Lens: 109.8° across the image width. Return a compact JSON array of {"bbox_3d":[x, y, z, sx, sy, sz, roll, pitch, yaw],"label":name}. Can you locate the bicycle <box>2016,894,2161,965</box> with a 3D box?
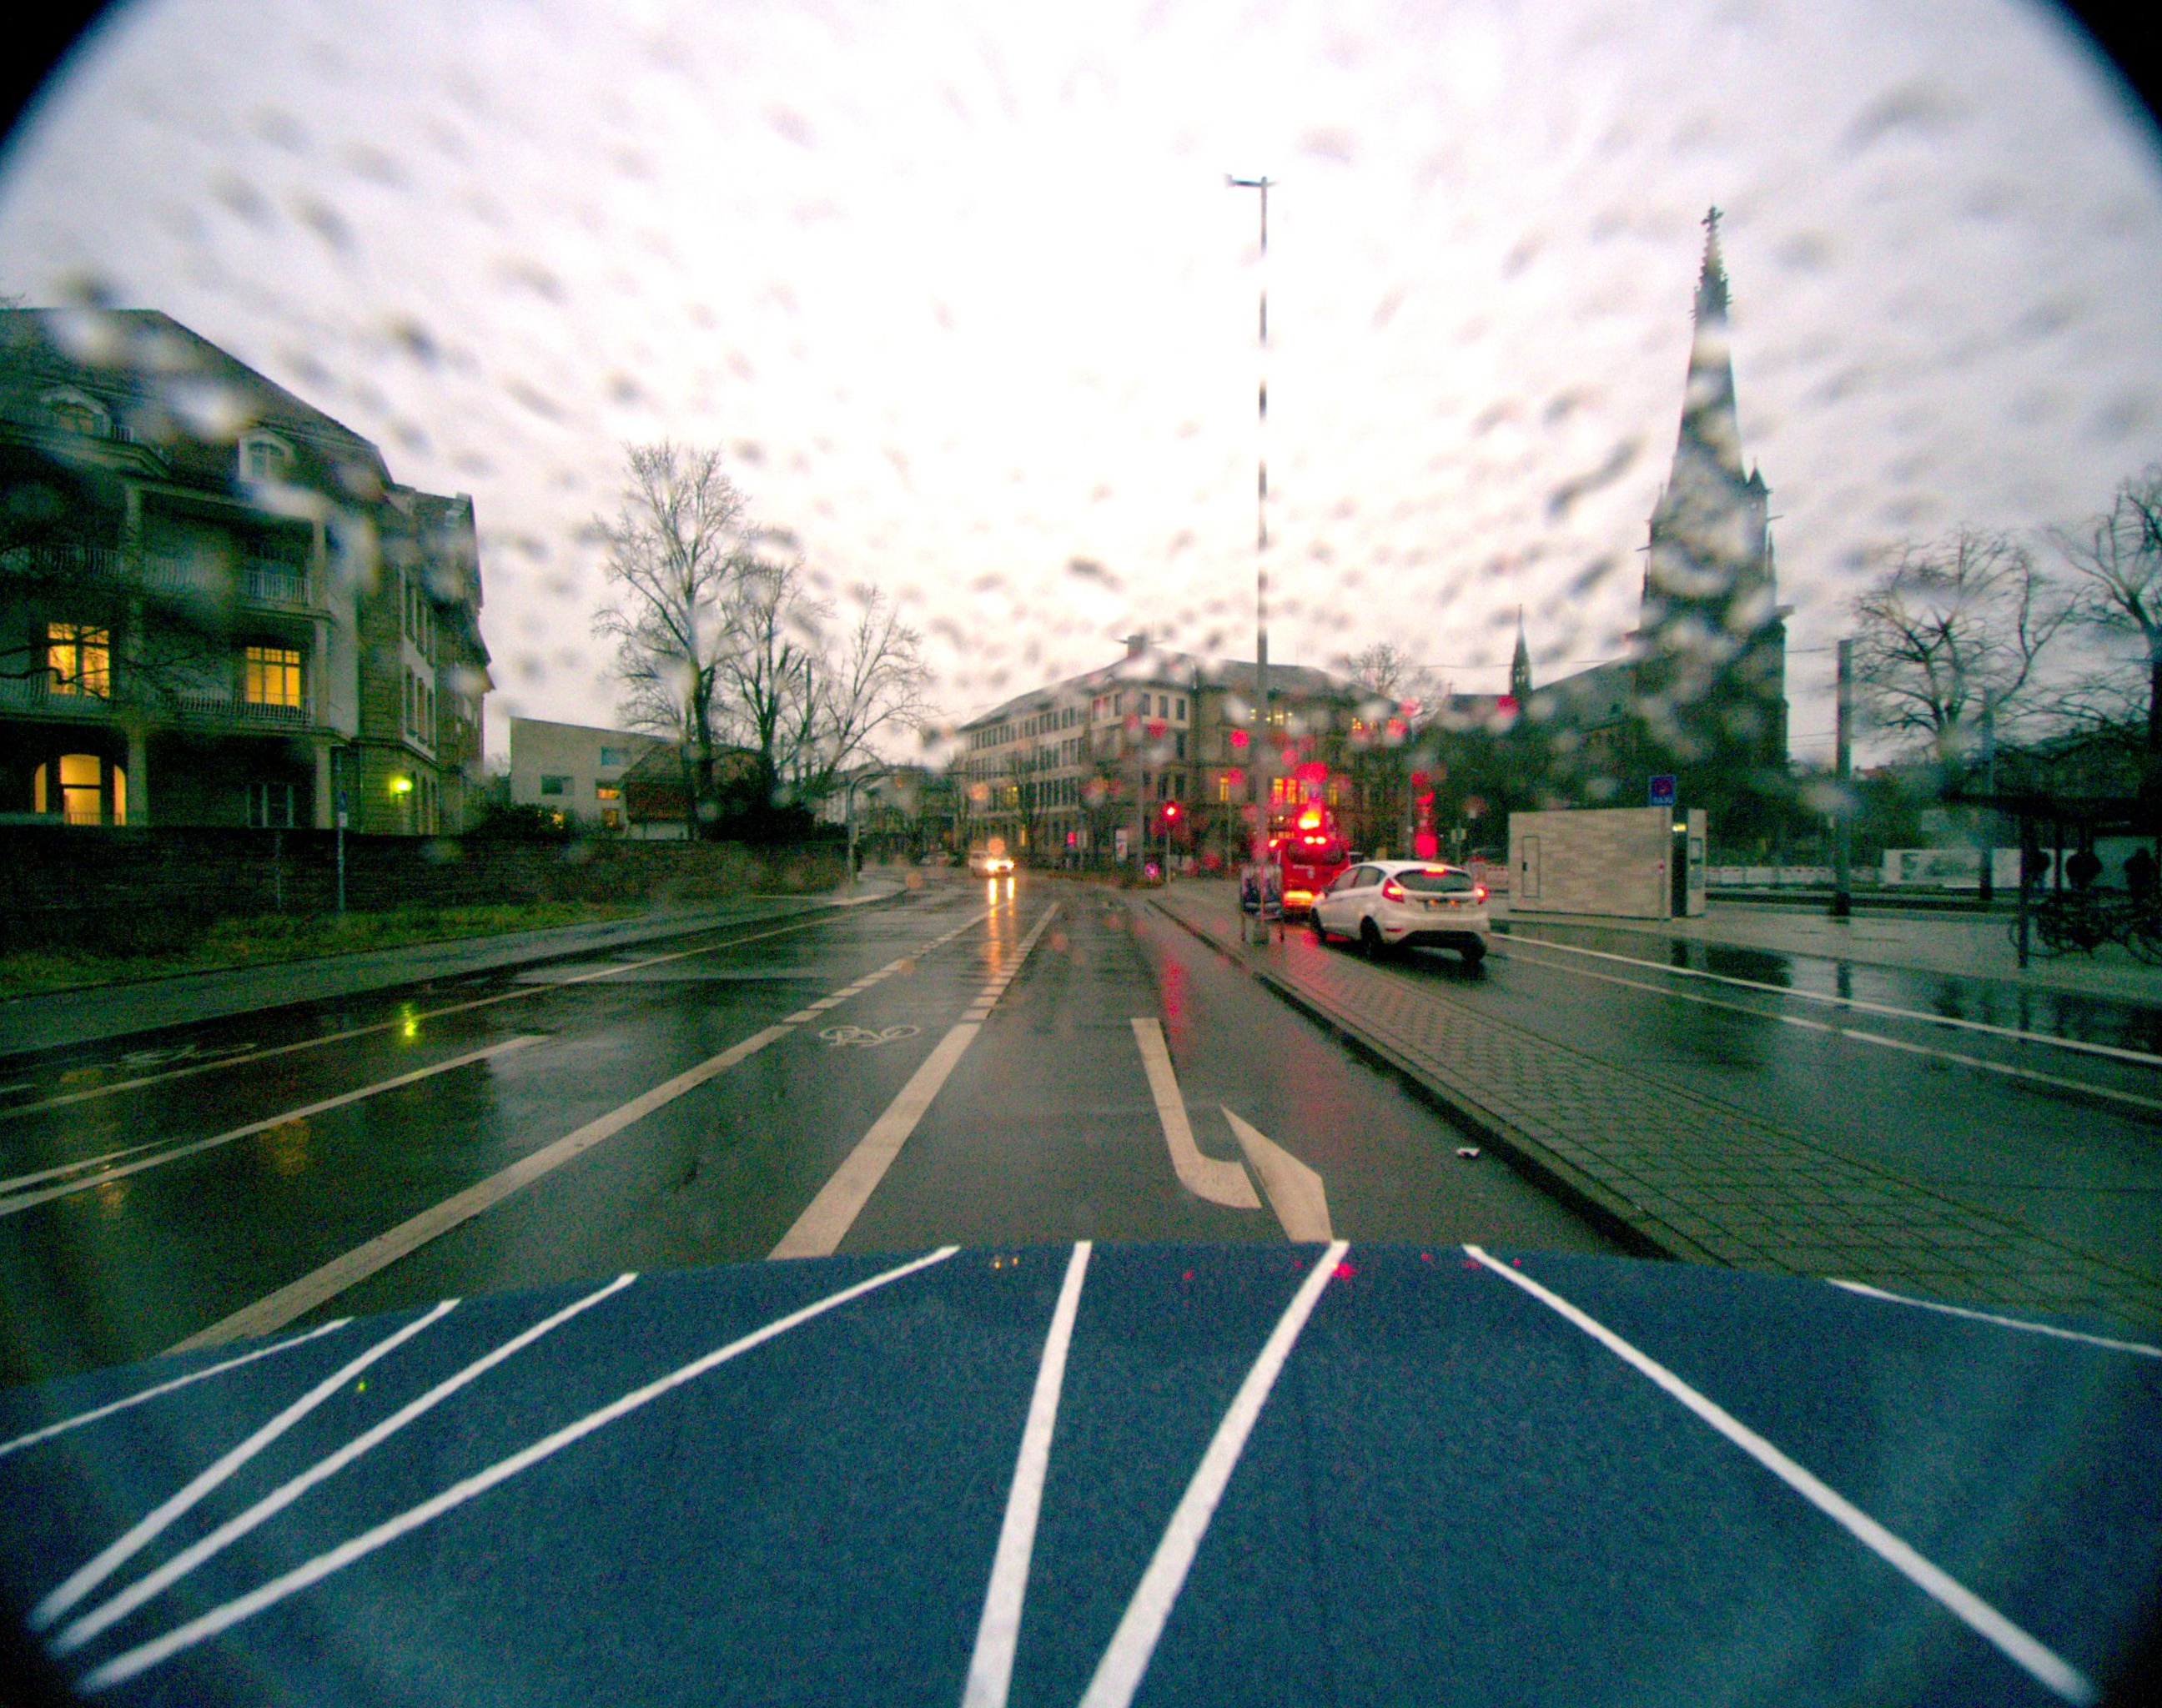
[{"bbox_3d":[16.613,1.212,12.219,0.475,0.980,1.921,-2,2,-30],"label":"bicycle"}]

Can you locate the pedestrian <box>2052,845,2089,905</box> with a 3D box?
[{"bbox_3d":[30.231,0.640,23.219,0.673,1.785,0.626,-3,2,-41],"label":"pedestrian"}]

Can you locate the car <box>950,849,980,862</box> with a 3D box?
[{"bbox_3d":[-15.100,0.192,99.407,1.797,1.541,4.007,-2,1,28],"label":"car"}]

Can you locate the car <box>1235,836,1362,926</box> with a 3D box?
[{"bbox_3d":[5.508,0.630,19.907,1.929,2.058,4.643,1,0,0],"label":"car"}]

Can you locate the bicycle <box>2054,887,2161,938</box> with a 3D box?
[{"bbox_3d":[20.844,1.159,15.021,0.475,0.905,1.921,-2,2,-30],"label":"bicycle"}]

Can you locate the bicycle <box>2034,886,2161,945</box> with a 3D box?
[{"bbox_3d":[19.688,1.167,14.431,0.475,0.980,1.921,-2,2,-30],"label":"bicycle"}]

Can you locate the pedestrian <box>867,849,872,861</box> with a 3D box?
[{"bbox_3d":[-34.025,0.182,122.254,0.548,2.002,0.473,0,1,-33],"label":"pedestrian"}]

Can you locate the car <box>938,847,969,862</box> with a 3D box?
[{"bbox_3d":[-17.005,0.068,101.472,2.043,1.889,4.007,-2,1,28],"label":"car"}]

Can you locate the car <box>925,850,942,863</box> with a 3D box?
[{"bbox_3d":[-20.746,0.363,106.847,2.000,1.660,3.997,-2,1,-7],"label":"car"}]

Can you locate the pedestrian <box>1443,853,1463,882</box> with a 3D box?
[{"bbox_3d":[23.571,0.833,48.206,0.675,1.806,0.895,0,1,-38],"label":"pedestrian"}]

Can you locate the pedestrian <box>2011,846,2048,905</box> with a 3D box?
[{"bbox_3d":[29.558,0.660,23.688,0.828,1.785,0.668,-3,2,-41],"label":"pedestrian"}]

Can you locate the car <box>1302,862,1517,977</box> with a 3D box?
[{"bbox_3d":[5.058,0.923,12.308,1.744,1.440,3.712,2,1,-1],"label":"car"}]

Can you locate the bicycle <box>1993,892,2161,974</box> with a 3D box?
[{"bbox_3d":[15.495,1.179,11.615,0.475,1.064,1.921,-2,2,-30],"label":"bicycle"}]

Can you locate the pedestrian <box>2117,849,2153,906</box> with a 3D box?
[{"bbox_3d":[31.044,0.689,22.391,0.541,1.642,0.562,-3,2,-41],"label":"pedestrian"}]

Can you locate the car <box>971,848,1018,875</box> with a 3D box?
[{"bbox_3d":[-6.977,0.559,61.029,2.003,2.002,4.880,-3,1,-28],"label":"car"}]

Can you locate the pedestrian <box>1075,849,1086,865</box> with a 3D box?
[{"bbox_3d":[-0.079,0.340,82.697,0.829,1.714,0.926,0,0,-37],"label":"pedestrian"}]
